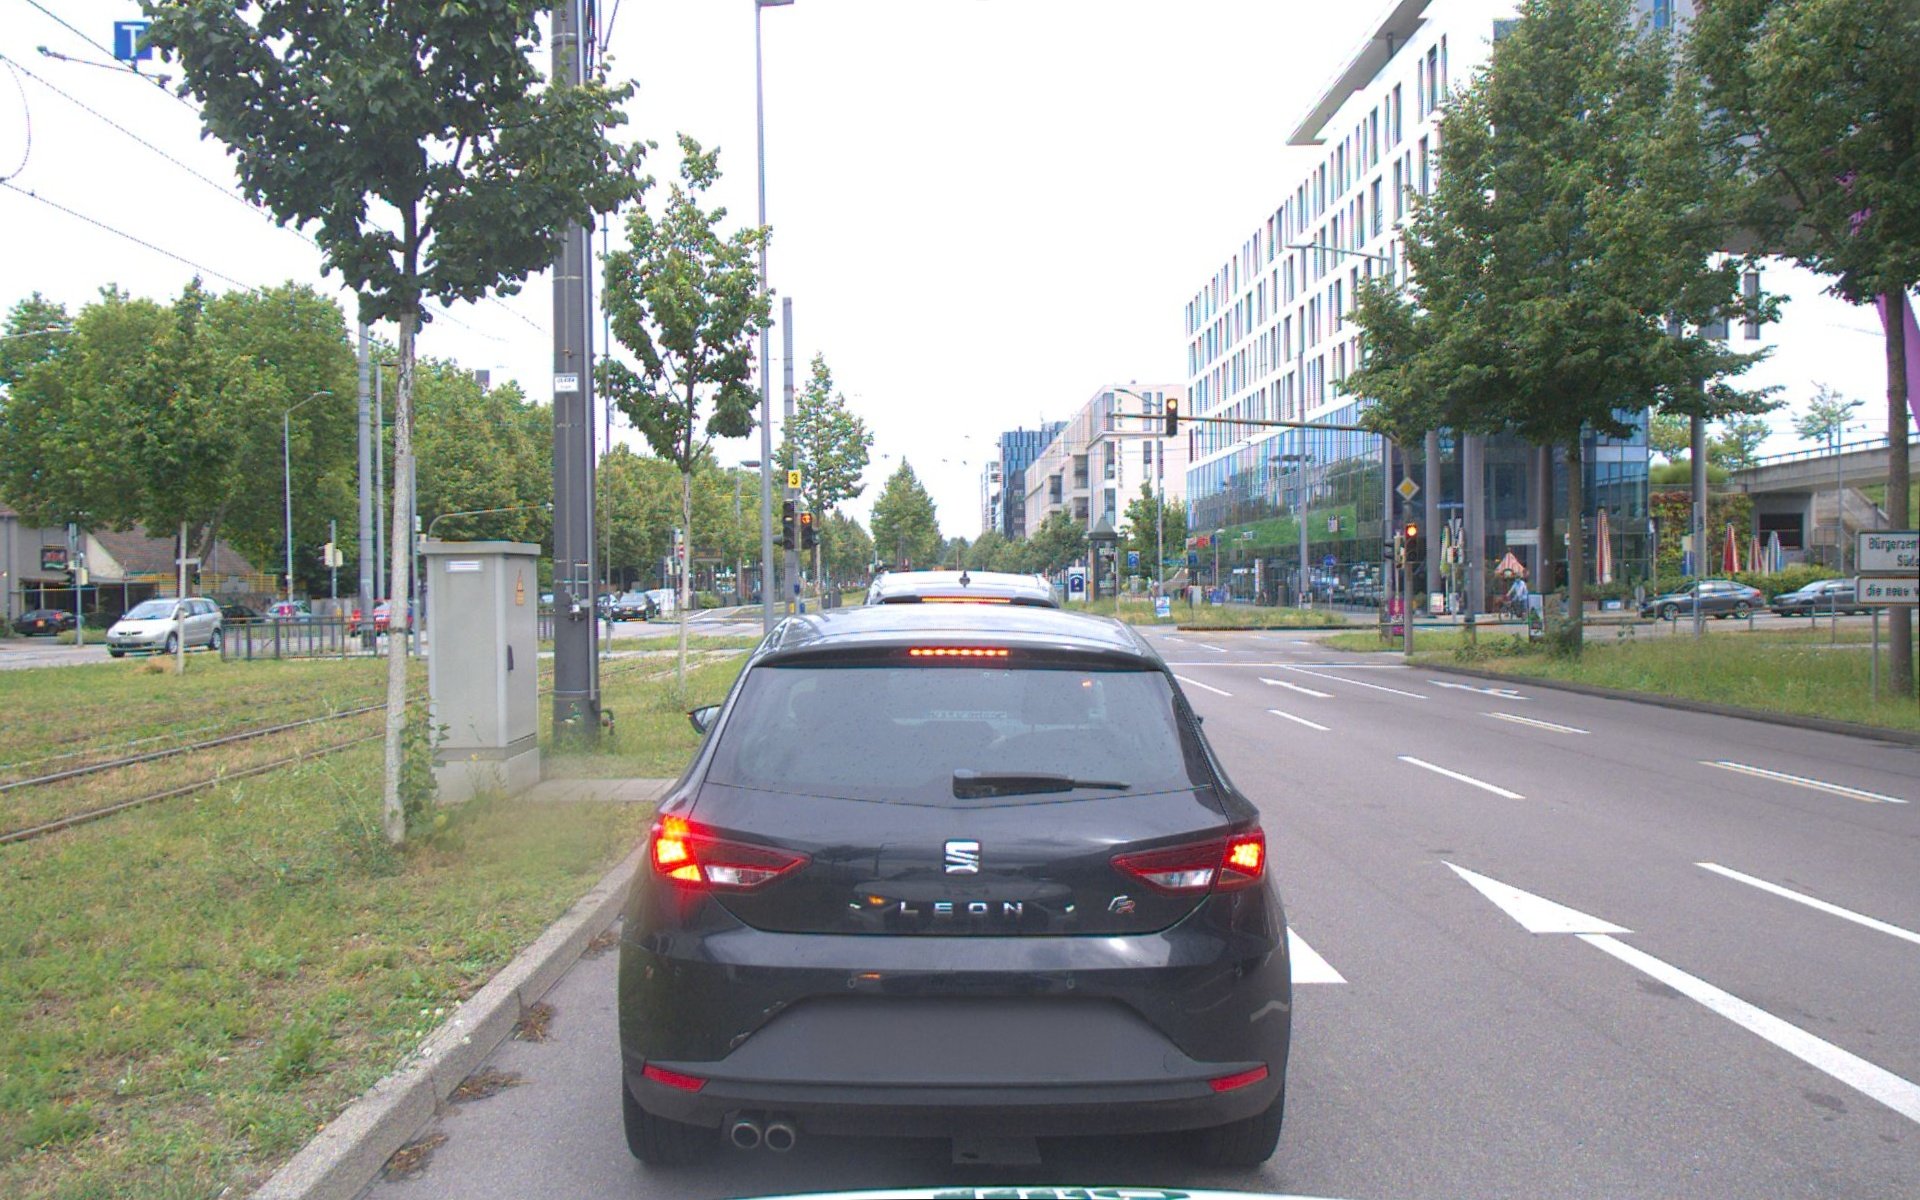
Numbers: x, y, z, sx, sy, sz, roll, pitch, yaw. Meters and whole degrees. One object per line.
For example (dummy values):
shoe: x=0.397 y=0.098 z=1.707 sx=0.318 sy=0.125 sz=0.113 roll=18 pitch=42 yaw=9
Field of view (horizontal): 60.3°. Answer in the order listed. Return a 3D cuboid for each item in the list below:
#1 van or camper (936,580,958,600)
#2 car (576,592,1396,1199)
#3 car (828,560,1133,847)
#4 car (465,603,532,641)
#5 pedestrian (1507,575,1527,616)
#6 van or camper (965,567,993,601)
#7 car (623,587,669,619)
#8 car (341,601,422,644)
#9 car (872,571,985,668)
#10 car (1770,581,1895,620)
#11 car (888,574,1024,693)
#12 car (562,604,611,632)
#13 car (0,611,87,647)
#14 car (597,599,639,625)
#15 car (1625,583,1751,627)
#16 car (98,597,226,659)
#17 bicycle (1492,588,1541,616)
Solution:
van or camper: x=-1.157 y=-0.918 z=150.913 sx=1.953 sy=1.643 sz=4.789 roll=0 pitch=2 yaw=0
car: x=0.005 y=0.718 z=5.469 sx=1.708 sy=1.442 sz=3.999 roll=1 pitch=1 yaw=-2
car: x=0.090 y=0.586 z=11.680 sx=1.766 sy=1.652 sz=3.999 roll=-1 pitch=0 yaw=-1
car: x=-19.769 y=0.933 z=70.992 sx=1.630 sy=1.451 sz=4.744 roll=-2 pitch=1 yaw=-2
pedestrian: x=22.428 y=-0.185 z=66.599 sx=0.602 sy=1.632 sz=0.619 roll=-1 pitch=0 yaw=1
van or camper: x=1.395 y=-1.201 z=123.995 sx=2.066 sy=2.397 sz=4.924 roll=0 pitch=2 yaw=0
car: x=-17.961 y=0.145 z=94.807 sx=1.953 sy=1.780 sz=4.199 roll=-1 pitch=0 yaw=-2
car: x=-23.644 y=0.899 z=67.769 sx=1.759 sy=1.598 sz=4.328 roll=-1 pitch=1 yaw=0
car: x=-0.522 y=0.320 z=31.320 sx=1.952 sy=1.711 sz=4.001 roll=1 pitch=1 yaw=1
car: x=34.413 y=0.022 z=65.280 sx=3.996 sy=1.480 sz=1.758 roll=-1 pitch=0 yaw=1
car: x=0.014 y=0.462 z=26.059 sx=1.952 sy=1.711 sz=4.001 roll=1 pitch=1 yaw=2
car: x=-19.992 y=0.930 z=88.648 sx=1.765 sy=1.401 sz=4.056 roll=-1 pitch=1 yaw=-2
car: x=-50.483 y=1.572 z=90.619 sx=4.190 sy=1.847 sz=2.108 roll=-1 pitch=0 yaw=3
car: x=-22.354 y=0.756 z=108.357 sx=1.774 sy=1.616 sz=5.076 roll=-1 pitch=1 yaw=-1
car: x=28.506 y=0.180 z=64.871 sx=4.163 sy=1.643 sz=1.758 roll=-1 pitch=0 yaw=1
car: x=-23.436 y=0.786 z=48.746 sx=1.686 sy=1.672 sz=4.672 roll=-1 pitch=1 yaw=-3
bicycle: x=22.404 y=0.084 z=66.599 sx=1.755 sy=1.104 sz=0.618 roll=-1 pitch=0 yaw=1
